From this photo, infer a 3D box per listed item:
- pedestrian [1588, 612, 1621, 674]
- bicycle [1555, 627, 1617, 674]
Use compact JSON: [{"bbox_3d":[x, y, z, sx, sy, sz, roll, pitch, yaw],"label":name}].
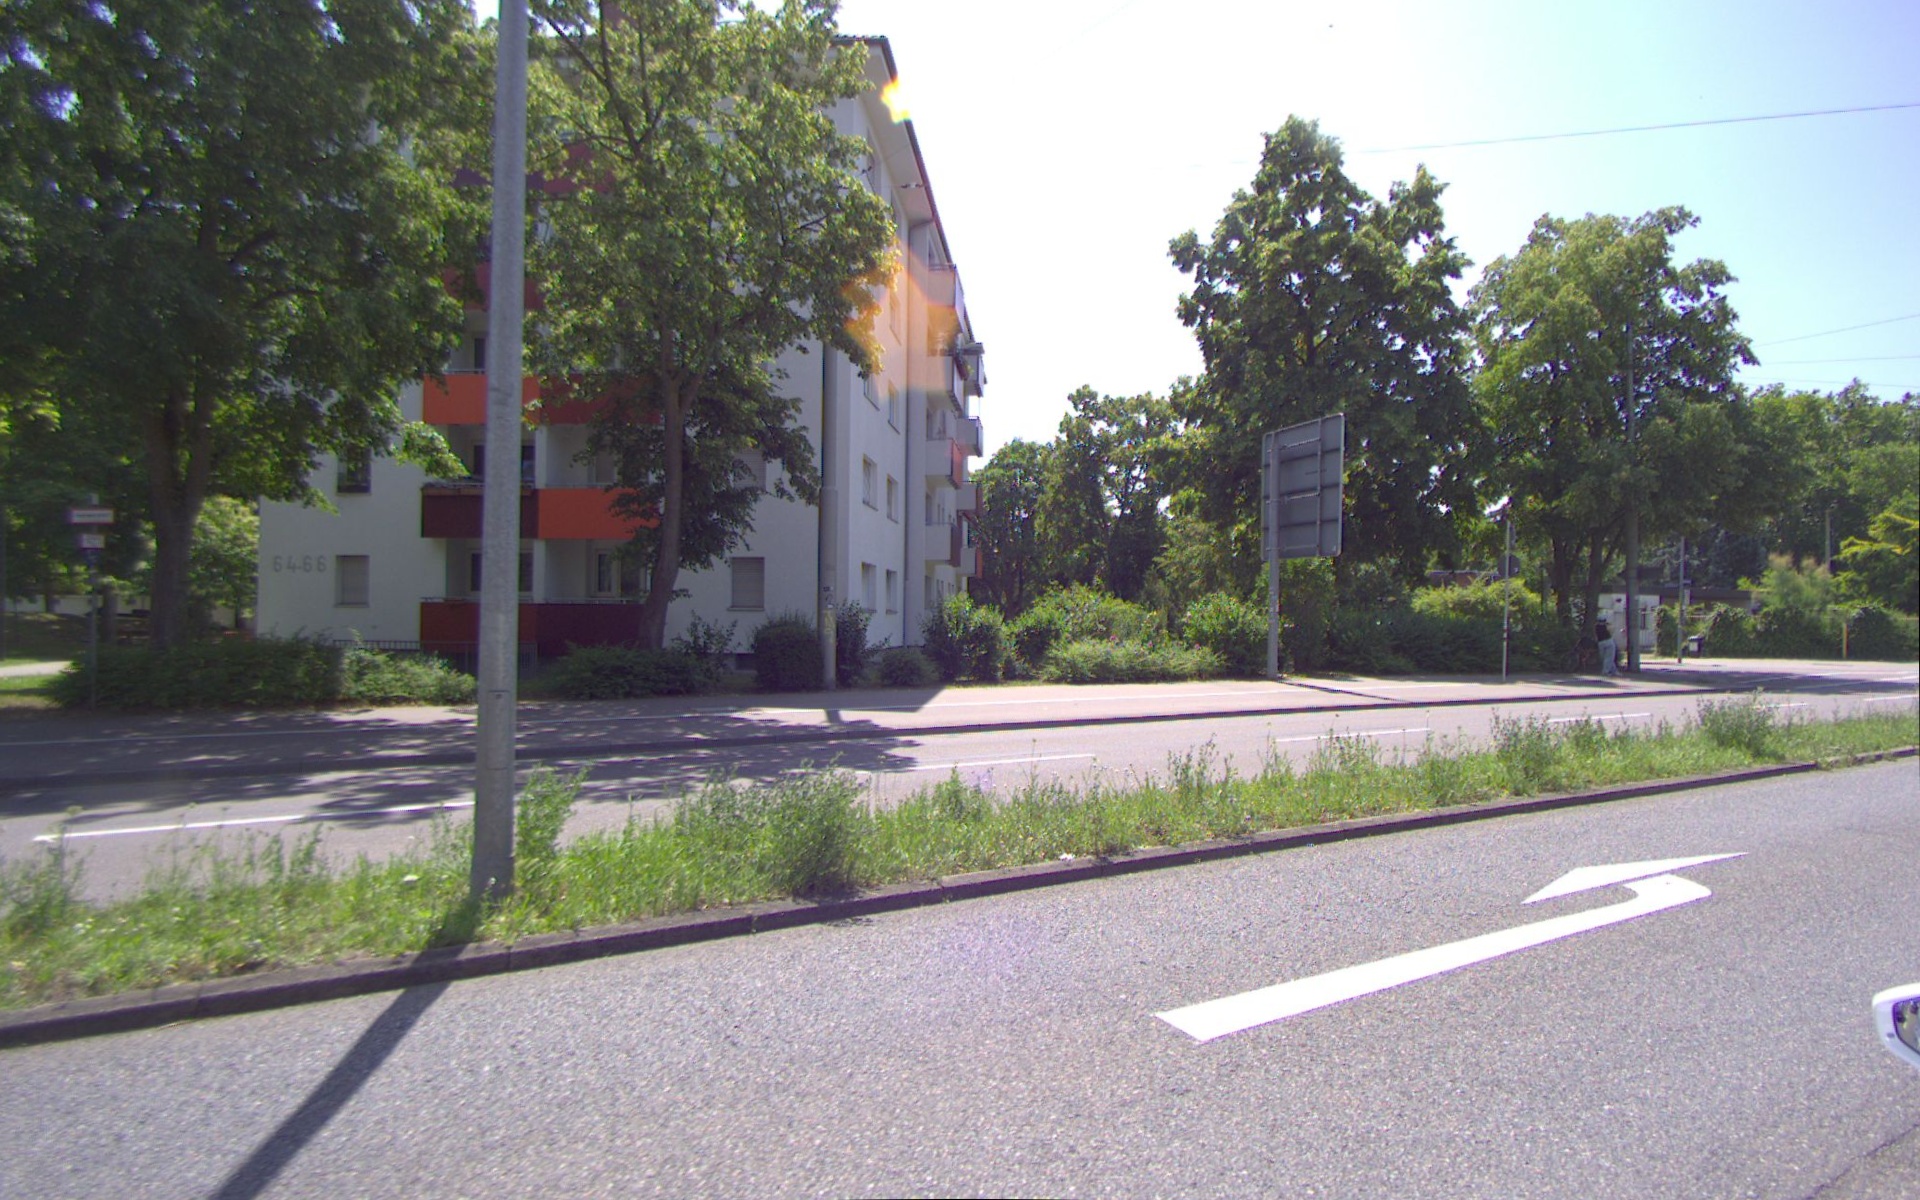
[{"bbox_3d":[18.416,1.226,28.717,0.593,1.741,0.549,1,-1,-15],"label":"pedestrian"},{"bbox_3d":[18.269,1.452,29.325,1.547,1.345,0.646,1,-1,-15],"label":"bicycle"}]
